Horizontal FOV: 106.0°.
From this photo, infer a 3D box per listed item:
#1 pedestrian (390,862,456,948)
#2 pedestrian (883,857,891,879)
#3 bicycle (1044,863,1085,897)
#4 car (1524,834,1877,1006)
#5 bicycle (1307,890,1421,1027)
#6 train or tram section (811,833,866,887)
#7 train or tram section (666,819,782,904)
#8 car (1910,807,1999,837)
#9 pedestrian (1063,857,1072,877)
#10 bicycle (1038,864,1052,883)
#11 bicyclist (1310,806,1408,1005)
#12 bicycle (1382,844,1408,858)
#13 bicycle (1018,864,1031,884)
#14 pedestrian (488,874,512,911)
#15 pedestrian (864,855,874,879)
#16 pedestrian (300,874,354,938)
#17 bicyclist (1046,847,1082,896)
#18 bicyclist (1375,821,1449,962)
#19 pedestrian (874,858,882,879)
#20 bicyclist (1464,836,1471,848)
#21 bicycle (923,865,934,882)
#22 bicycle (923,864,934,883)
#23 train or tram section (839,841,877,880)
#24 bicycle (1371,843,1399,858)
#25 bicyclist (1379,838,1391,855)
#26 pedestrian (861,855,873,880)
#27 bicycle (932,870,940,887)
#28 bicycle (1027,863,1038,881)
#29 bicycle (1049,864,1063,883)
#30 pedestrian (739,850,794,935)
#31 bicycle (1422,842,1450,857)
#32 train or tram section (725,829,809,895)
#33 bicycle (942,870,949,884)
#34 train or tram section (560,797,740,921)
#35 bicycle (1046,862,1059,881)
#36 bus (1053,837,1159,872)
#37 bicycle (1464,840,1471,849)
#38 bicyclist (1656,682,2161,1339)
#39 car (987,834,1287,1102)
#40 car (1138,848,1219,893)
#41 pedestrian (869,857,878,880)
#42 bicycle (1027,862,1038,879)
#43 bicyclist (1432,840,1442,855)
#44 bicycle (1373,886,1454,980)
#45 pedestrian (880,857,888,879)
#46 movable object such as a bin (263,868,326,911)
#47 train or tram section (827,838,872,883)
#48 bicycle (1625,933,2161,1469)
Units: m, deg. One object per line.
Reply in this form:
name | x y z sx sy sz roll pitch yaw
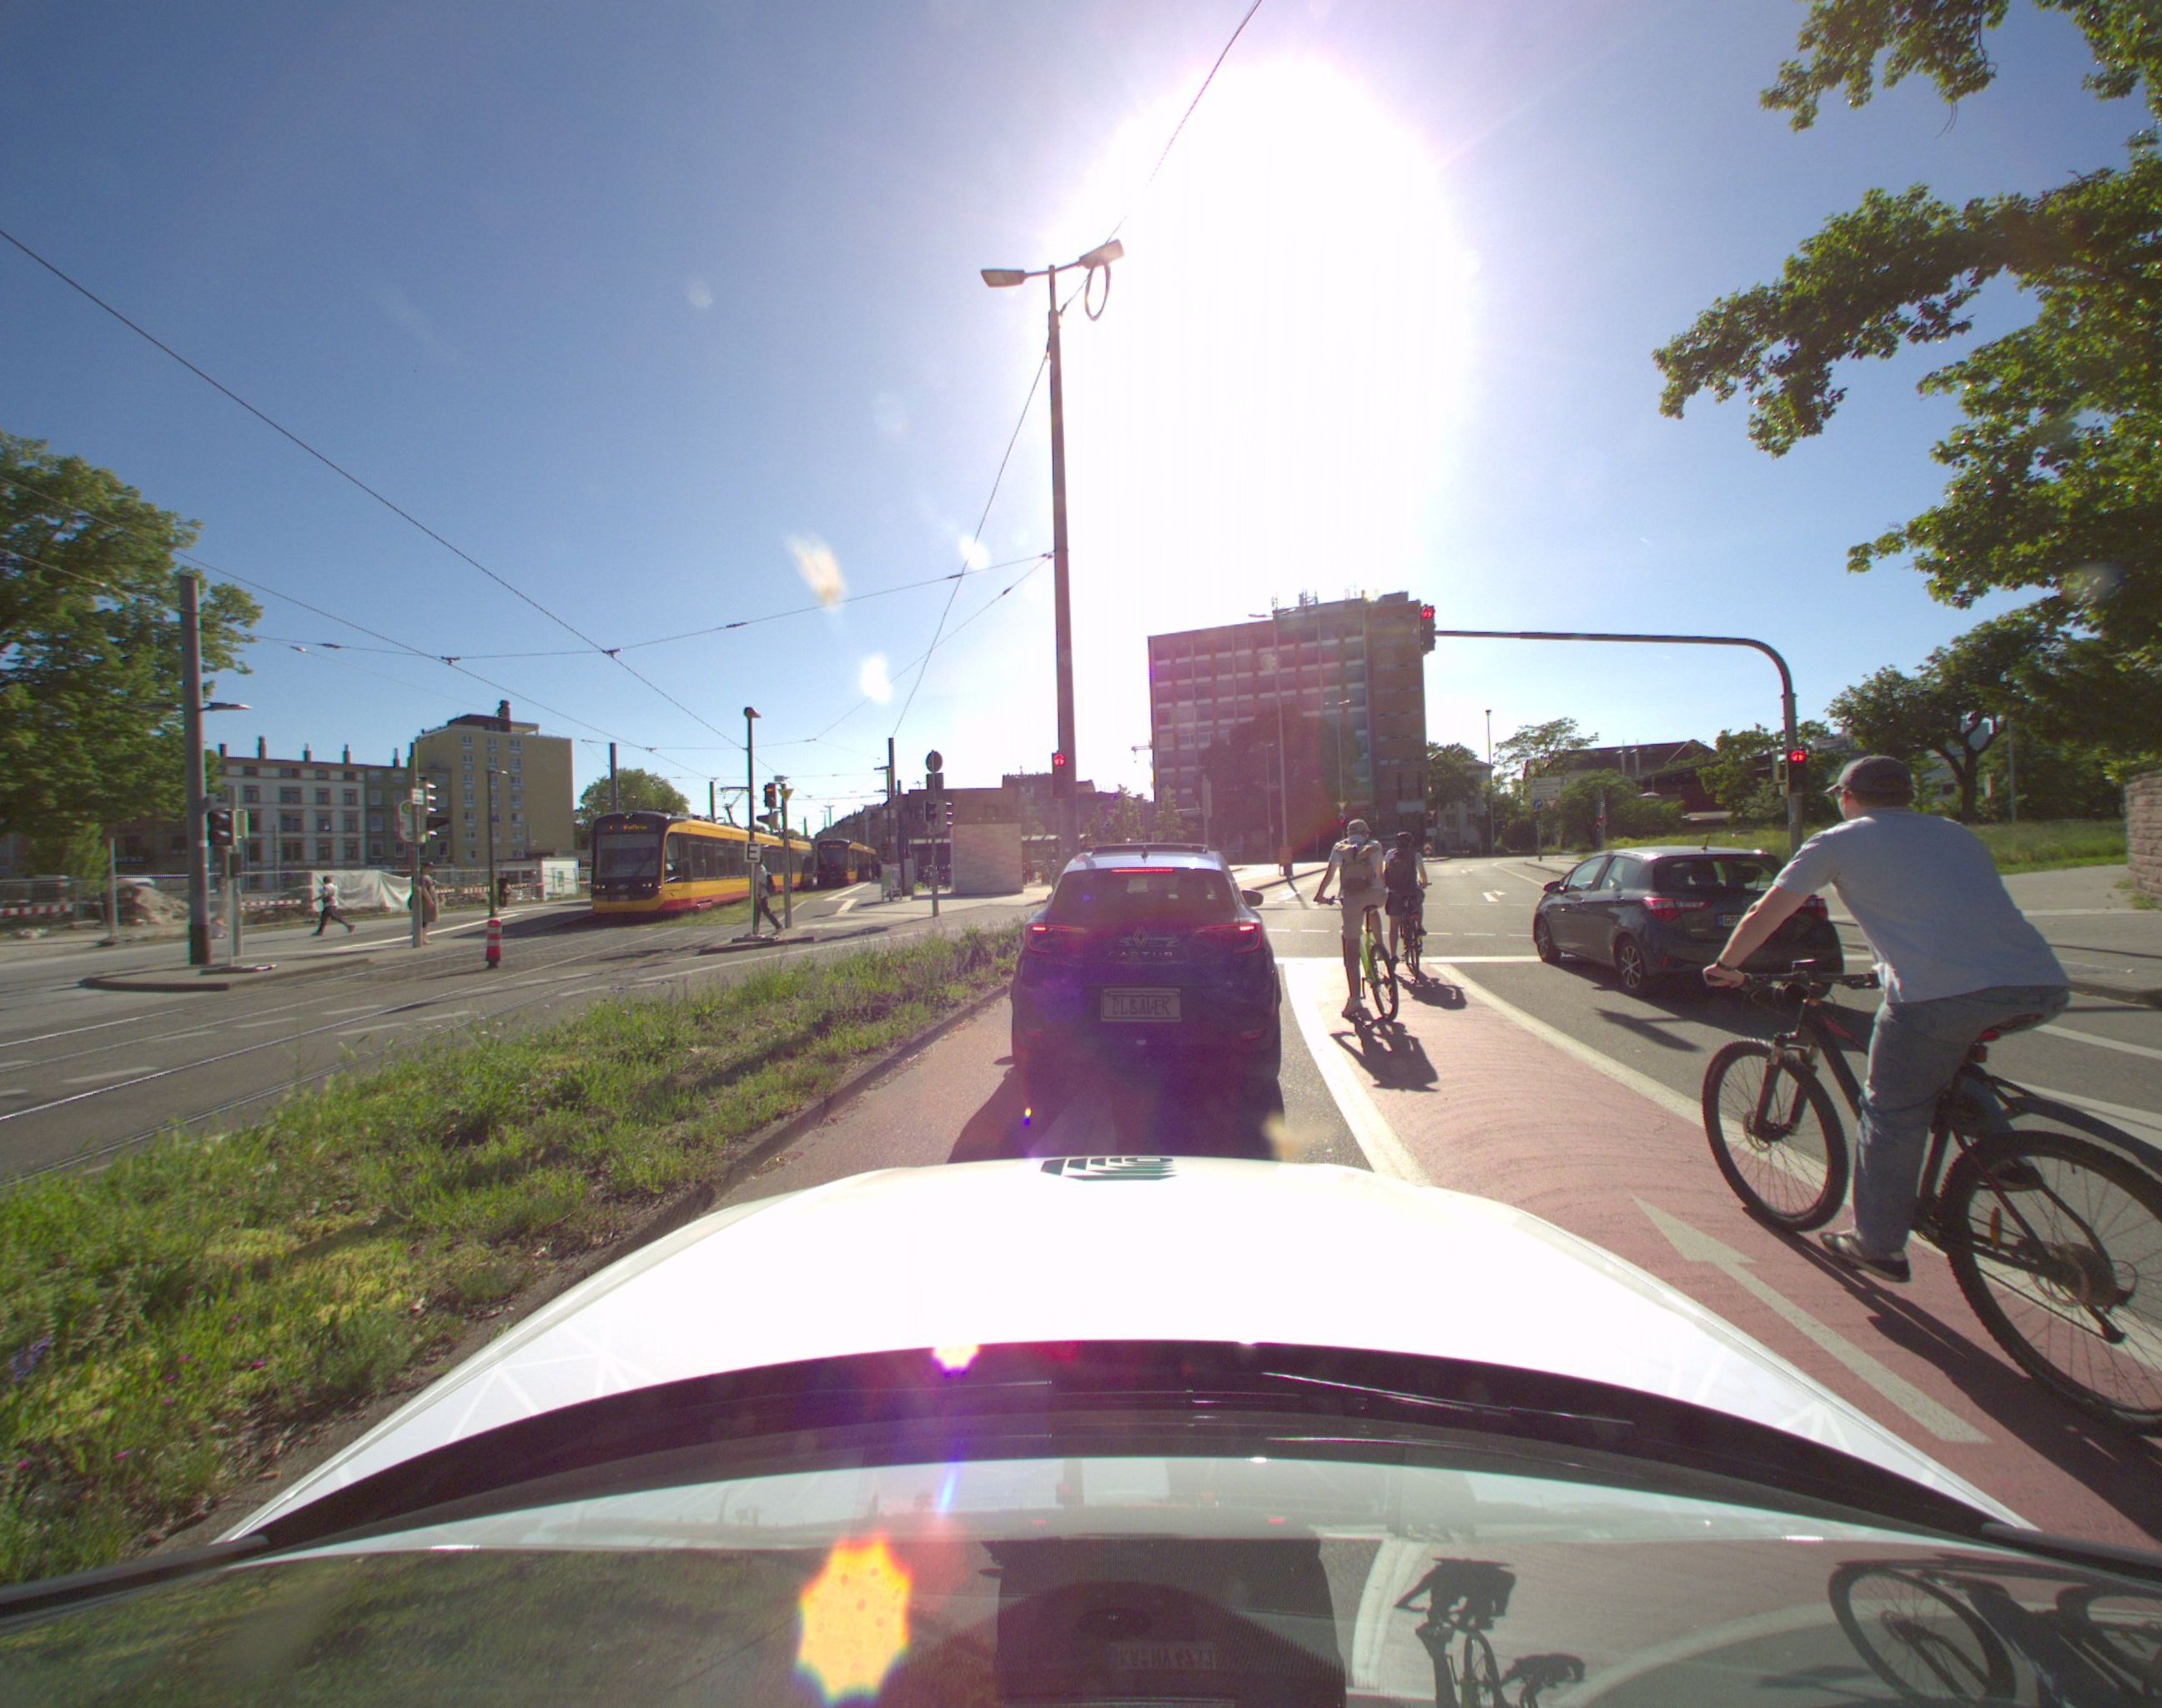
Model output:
pedestrian | -15.010 1.131 18.607 0.902 1.850 0.759 -2 2 -20
pedestrian | -17.097 1.226 71.660 0.632 1.857 0.700 -1 -2 -9
bicycle | -0.540 0.879 28.051 0.767 1.080 2.044 -3 -1 16
car | 6.607 0.608 9.245 1.744 1.541 3.670 -1 0 12
bicycle | 2.605 0.912 7.698 0.659 1.047 1.895 -2 0 9
train or tram section | -17.600 0.440 59.721 2.873 3.508 10.499 -1 0 -12
train or tram section | -16.808 0.339 39.187 2.818 3.508 10.569 -1 0 -11
car | 67.669 -2.429 63.188 4.305 2.014 2.013 -2 -2 34
pedestrian | -1.301 1.263 79.506 0.721 1.857 0.705 -1 -2 10
bicycle | -1.936 1.047 43.224 0.580 0.961 2.053 -1 -1 -7
bicyclist | 2.592 0.458 7.688 0.660 1.747 1.008 -2 0 9
bicycle | 35.820 -0.364 92.906 2.779 1.541 0.888 -1 -2 18
bicycle | -2.965 1.057 42.873 0.580 1.058 1.812 -1 -1 -7
pedestrian | -28.390 1.871 39.815 0.668 1.767 0.796 -2 0 -13
pedestrian | -17.103 1.021 65.798 0.740 1.918 0.739 -1 -2 -14
pedestrian | -21.839 1.474 23.602 0.977 1.767 0.856 -2 0 -34
bicyclist | -0.569 0.596 28.061 0.873 1.644 1.065 -3 -1 16
bicyclist | 4.034 0.436 9.992 0.716 1.626 1.059 -1 0 16
pedestrian | -17.986 1.254 72.190 0.631 1.857 0.701 -1 -2 -7
bicyclist | 49.696 -1.563 104.746 0.612 1.444 0.824 -2 0 32
bicycle | -9.852 1.278 52.602 0.565 1.093 2.023 -1 -1 -9
bicycle | -8.665 1.109 46.262 0.565 1.093 2.023 -1 -1 -9
train or tram section | -21.855 0.632 80.194 2.873 3.508 10.499 -1 0 -12
bicycle | 33.751 -0.386 90.411 2.775 1.541 0.889 -2 -2 27
bicyclist | 33.748 -0.813 90.406 1.195 1.897 0.889 -2 -2 27
pedestrian | -15.923 1.010 60.664 0.848 1.883 0.757 -1 -2 -14
bicycle | -8.534 1.445 47.976 0.422 0.938 1.300 0 -1 -13
bicycle | -2.922 1.084 48.911 0.580 1.088 2.053 -1 -1 -7
bicycle | -1.322 1.038 43.296 0.580 0.961 2.053 -1 -1 -7
pedestrian | -6.985 0.840 18.129 1.017 1.832 0.757 -1 -2 -14
bicycle | 39.089 -0.497 89.629 2.775 1.541 0.889 -2 -2 27
train or tram section | -18.902 0.478 49.754 2.818 3.508 11.166 -1 0 -11
bicycle | -8.810 1.492 53.008 0.421 0.938 1.374 0 -1 -9
train or tram section | -14.690 0.179 28.871 2.820 3.508 10.433 -2 0 -12
bicycle | -1.715 1.064 48.953 0.580 1.088 2.053 -1 -1 -7
bus | 2.505 0.140 86.900 12.287 3.396 2.900 -2 -2 42
bicycle | 49.707 -1.202 104.755 0.603 1.093 1.682 -3 0 32
bicyclist | 2.654 0.432 2.755 0.745 1.776 1.016 -1 -1 9
car | 0.569 0.690 6.790 1.813 1.600 3.666 -1 0 8
car | 3.691 0.560 30.163 1.784 1.393 4.116 -2 1 23
pedestrian | -17.158 1.177 67.350 0.673 1.857 0.701 -1 -2 -7
bicycle | -3.354 1.146 56.400 0.580 1.088 1.865 -1 -1 -9
bicyclist | 39.163 -0.707 89.567 0.850 1.692 0.889 -2 -2 27
bicycle | 4.061 0.921 10.083 0.717 0.960 1.892 -1 0 16
pedestrian | -16.634 1.198 68.689 0.634 1.857 0.699 0 -2 -17
movable object such as a bin | -53.461 2.396 55.363 3.950 2.796 1.844 -2 -2 26
train or tram section | -19.750 0.547 69.953 2.873 3.508 10.499 -1 0 -12
bicycle | 2.688 0.904 2.817 0.607 1.077 1.834 -2 0 9
